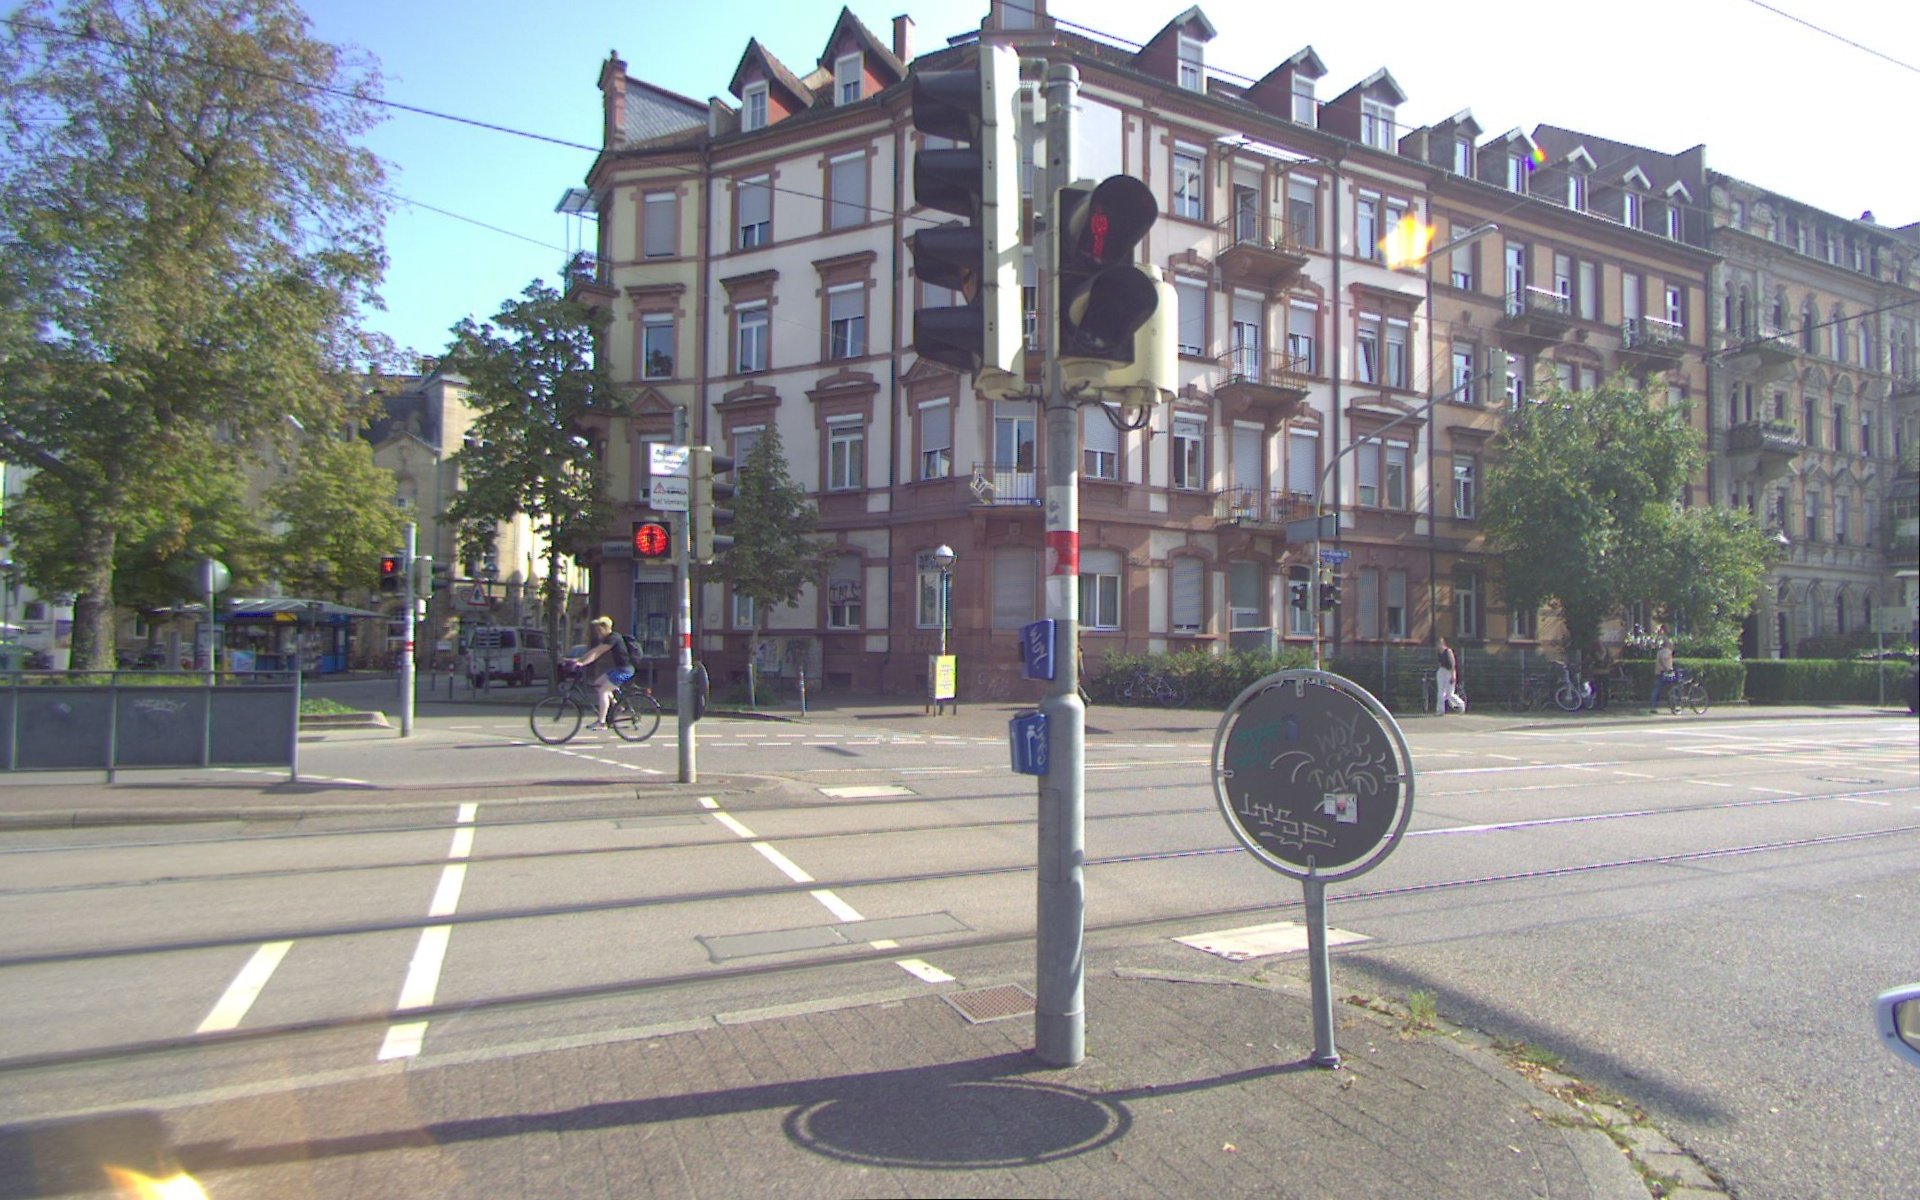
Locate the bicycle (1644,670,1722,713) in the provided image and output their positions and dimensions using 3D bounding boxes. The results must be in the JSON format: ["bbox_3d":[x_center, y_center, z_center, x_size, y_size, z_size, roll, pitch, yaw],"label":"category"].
[{"bbox_3d":[17.935,2.267,24.908,2.122,1.020,0.616,2,-3,-26],"label":"bicycle"}]

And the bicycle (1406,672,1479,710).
[{"bbox_3d":[11.612,2.175,24.175,1.801,0.871,0.525,2,-2,-22],"label":"bicycle"}]

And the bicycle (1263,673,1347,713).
[{"bbox_3d":[7.989,2.147,23.312,1.791,0.871,0.528,0,-2,14],"label":"bicycle"}]

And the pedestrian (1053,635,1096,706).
[{"bbox_3d":[2.675,1.629,23.398,0.926,1.591,0.843,0,-2,9],"label":"pedestrian"}]

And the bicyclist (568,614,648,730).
[{"bbox_3d":[-5.162,1.044,14.730,1.029,1.635,0.672,2,-3,-23],"label":"bicyclist"}]

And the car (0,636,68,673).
[{"bbox_3d":[-48.282,2.737,50.919,2.039,1.815,4.592,1,-3,-2],"label":"car"}]

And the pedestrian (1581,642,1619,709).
[{"bbox_3d":[16.456,1.925,25.820,0.628,1.700,0.632,3,-3,-37],"label":"pedestrian"}]

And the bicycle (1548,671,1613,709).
[{"bbox_3d":[15.892,2.285,25.722,1.678,0.939,0.525,2,-2,-22],"label":"bicycle"}]

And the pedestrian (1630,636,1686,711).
[{"bbox_3d":[17.526,1.842,25.220,1.079,1.830,0.725,2,-3,-27],"label":"pedestrian"}]

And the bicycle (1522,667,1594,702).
[{"bbox_3d":[16.249,2.288,27.350,0.521,0.871,1.693,2,-3,-24],"label":"bicycle"}]

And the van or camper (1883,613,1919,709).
[{"bbox_3d":[29.595,1.810,28.725,5.994,2.678,2.049,2,-4,-18],"label":"van or camper"}]

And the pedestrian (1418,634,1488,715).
[{"bbox_3d":[11.269,1.694,22.981,1.168,1.789,0.903,2,-3,-22],"label":"pedestrian"}]

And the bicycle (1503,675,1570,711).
[{"bbox_3d":[14.372,2.303,25.027,1.678,0.871,0.525,2,-2,-22],"label":"bicycle"}]

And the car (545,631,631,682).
[{"bbox_3d":[-15.829,2.403,43.012,2.039,2.043,4.592,1,-3,-2],"label":"car"}]

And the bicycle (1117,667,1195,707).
[{"bbox_3d":[4.676,2.065,23.944,1.791,0.871,0.528,0,-2,14],"label":"bicycle"}]

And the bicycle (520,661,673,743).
[{"bbox_3d":[-5.288,1.468,14.660,2.040,1.118,0.683,2,-3,-23],"label":"bicycle"}]

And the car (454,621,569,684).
[{"bbox_3d":[-15.659,1.850,35.393,2.039,2.043,4.592,1,-3,-2],"label":"car"}]

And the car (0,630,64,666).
[{"bbox_3d":[-51.463,2.570,54.365,3.923,1.873,2.000,1,-3,-3],"label":"car"}]
